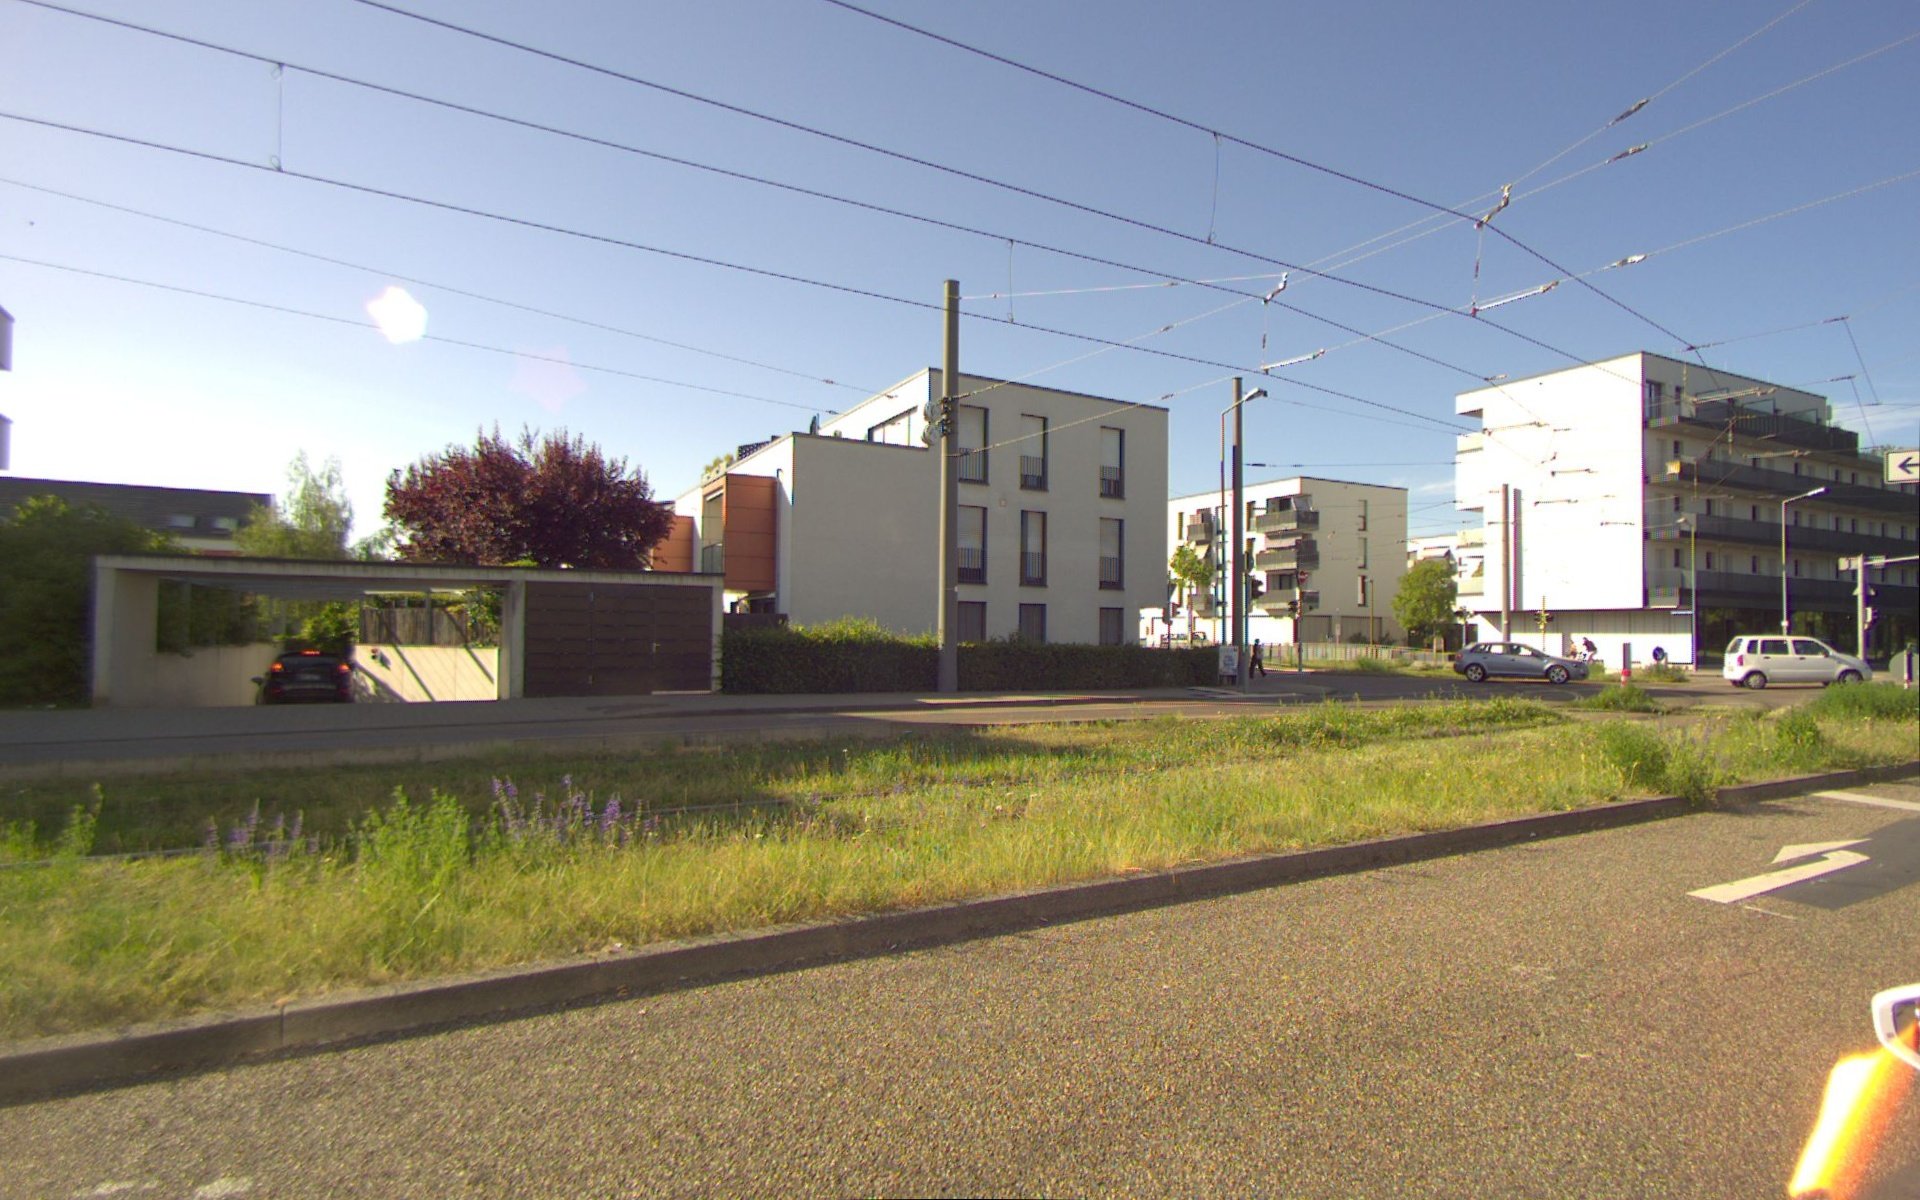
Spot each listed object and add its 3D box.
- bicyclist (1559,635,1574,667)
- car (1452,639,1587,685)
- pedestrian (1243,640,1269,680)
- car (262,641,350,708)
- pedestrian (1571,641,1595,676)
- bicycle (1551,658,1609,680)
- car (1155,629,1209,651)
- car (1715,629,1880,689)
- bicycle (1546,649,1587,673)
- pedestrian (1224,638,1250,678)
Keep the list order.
[{"bbox_3d":[32.252,2.688,53.402,0.630,1.635,0.783,2,0,32],"label":"bicyclist"},{"bbox_3d":[19.794,2.138,35.576,4.042,1.505,1.864,-1,-2,35],"label":"car"},{"bbox_3d":[12.396,2.487,42.079,0.737,1.626,0.764,2,0,-40],"label":"pedestrian"},{"bbox_3d":[-15.151,1.761,23.287,1.560,1.344,3.966,2,-7,-33],"label":"car"},{"bbox_3d":[30.891,2.915,49.828,0.614,1.714,0.808,1,-2,-32],"label":"pedestrian"},{"bbox_3d":[30.812,3.439,49.958,0.633,1.015,2.398,2,-2,-31],"label":"bicycle"},{"bbox_3d":[17.692,3.178,80.306,1.974,1.595,4.309,2,0,-27],"label":"car"},{"bbox_3d":[26.182,1.807,31.557,3.617,1.743,1.868,0,-1,25],"label":"car"},{"bbox_3d":[32.233,3.228,53.423,1.829,1.139,0.820,2,0,32],"label":"bicycle"},{"bbox_3d":[11.832,2.474,42.952,0.737,1.626,0.764,2,0,-40],"label":"pedestrian"}]
